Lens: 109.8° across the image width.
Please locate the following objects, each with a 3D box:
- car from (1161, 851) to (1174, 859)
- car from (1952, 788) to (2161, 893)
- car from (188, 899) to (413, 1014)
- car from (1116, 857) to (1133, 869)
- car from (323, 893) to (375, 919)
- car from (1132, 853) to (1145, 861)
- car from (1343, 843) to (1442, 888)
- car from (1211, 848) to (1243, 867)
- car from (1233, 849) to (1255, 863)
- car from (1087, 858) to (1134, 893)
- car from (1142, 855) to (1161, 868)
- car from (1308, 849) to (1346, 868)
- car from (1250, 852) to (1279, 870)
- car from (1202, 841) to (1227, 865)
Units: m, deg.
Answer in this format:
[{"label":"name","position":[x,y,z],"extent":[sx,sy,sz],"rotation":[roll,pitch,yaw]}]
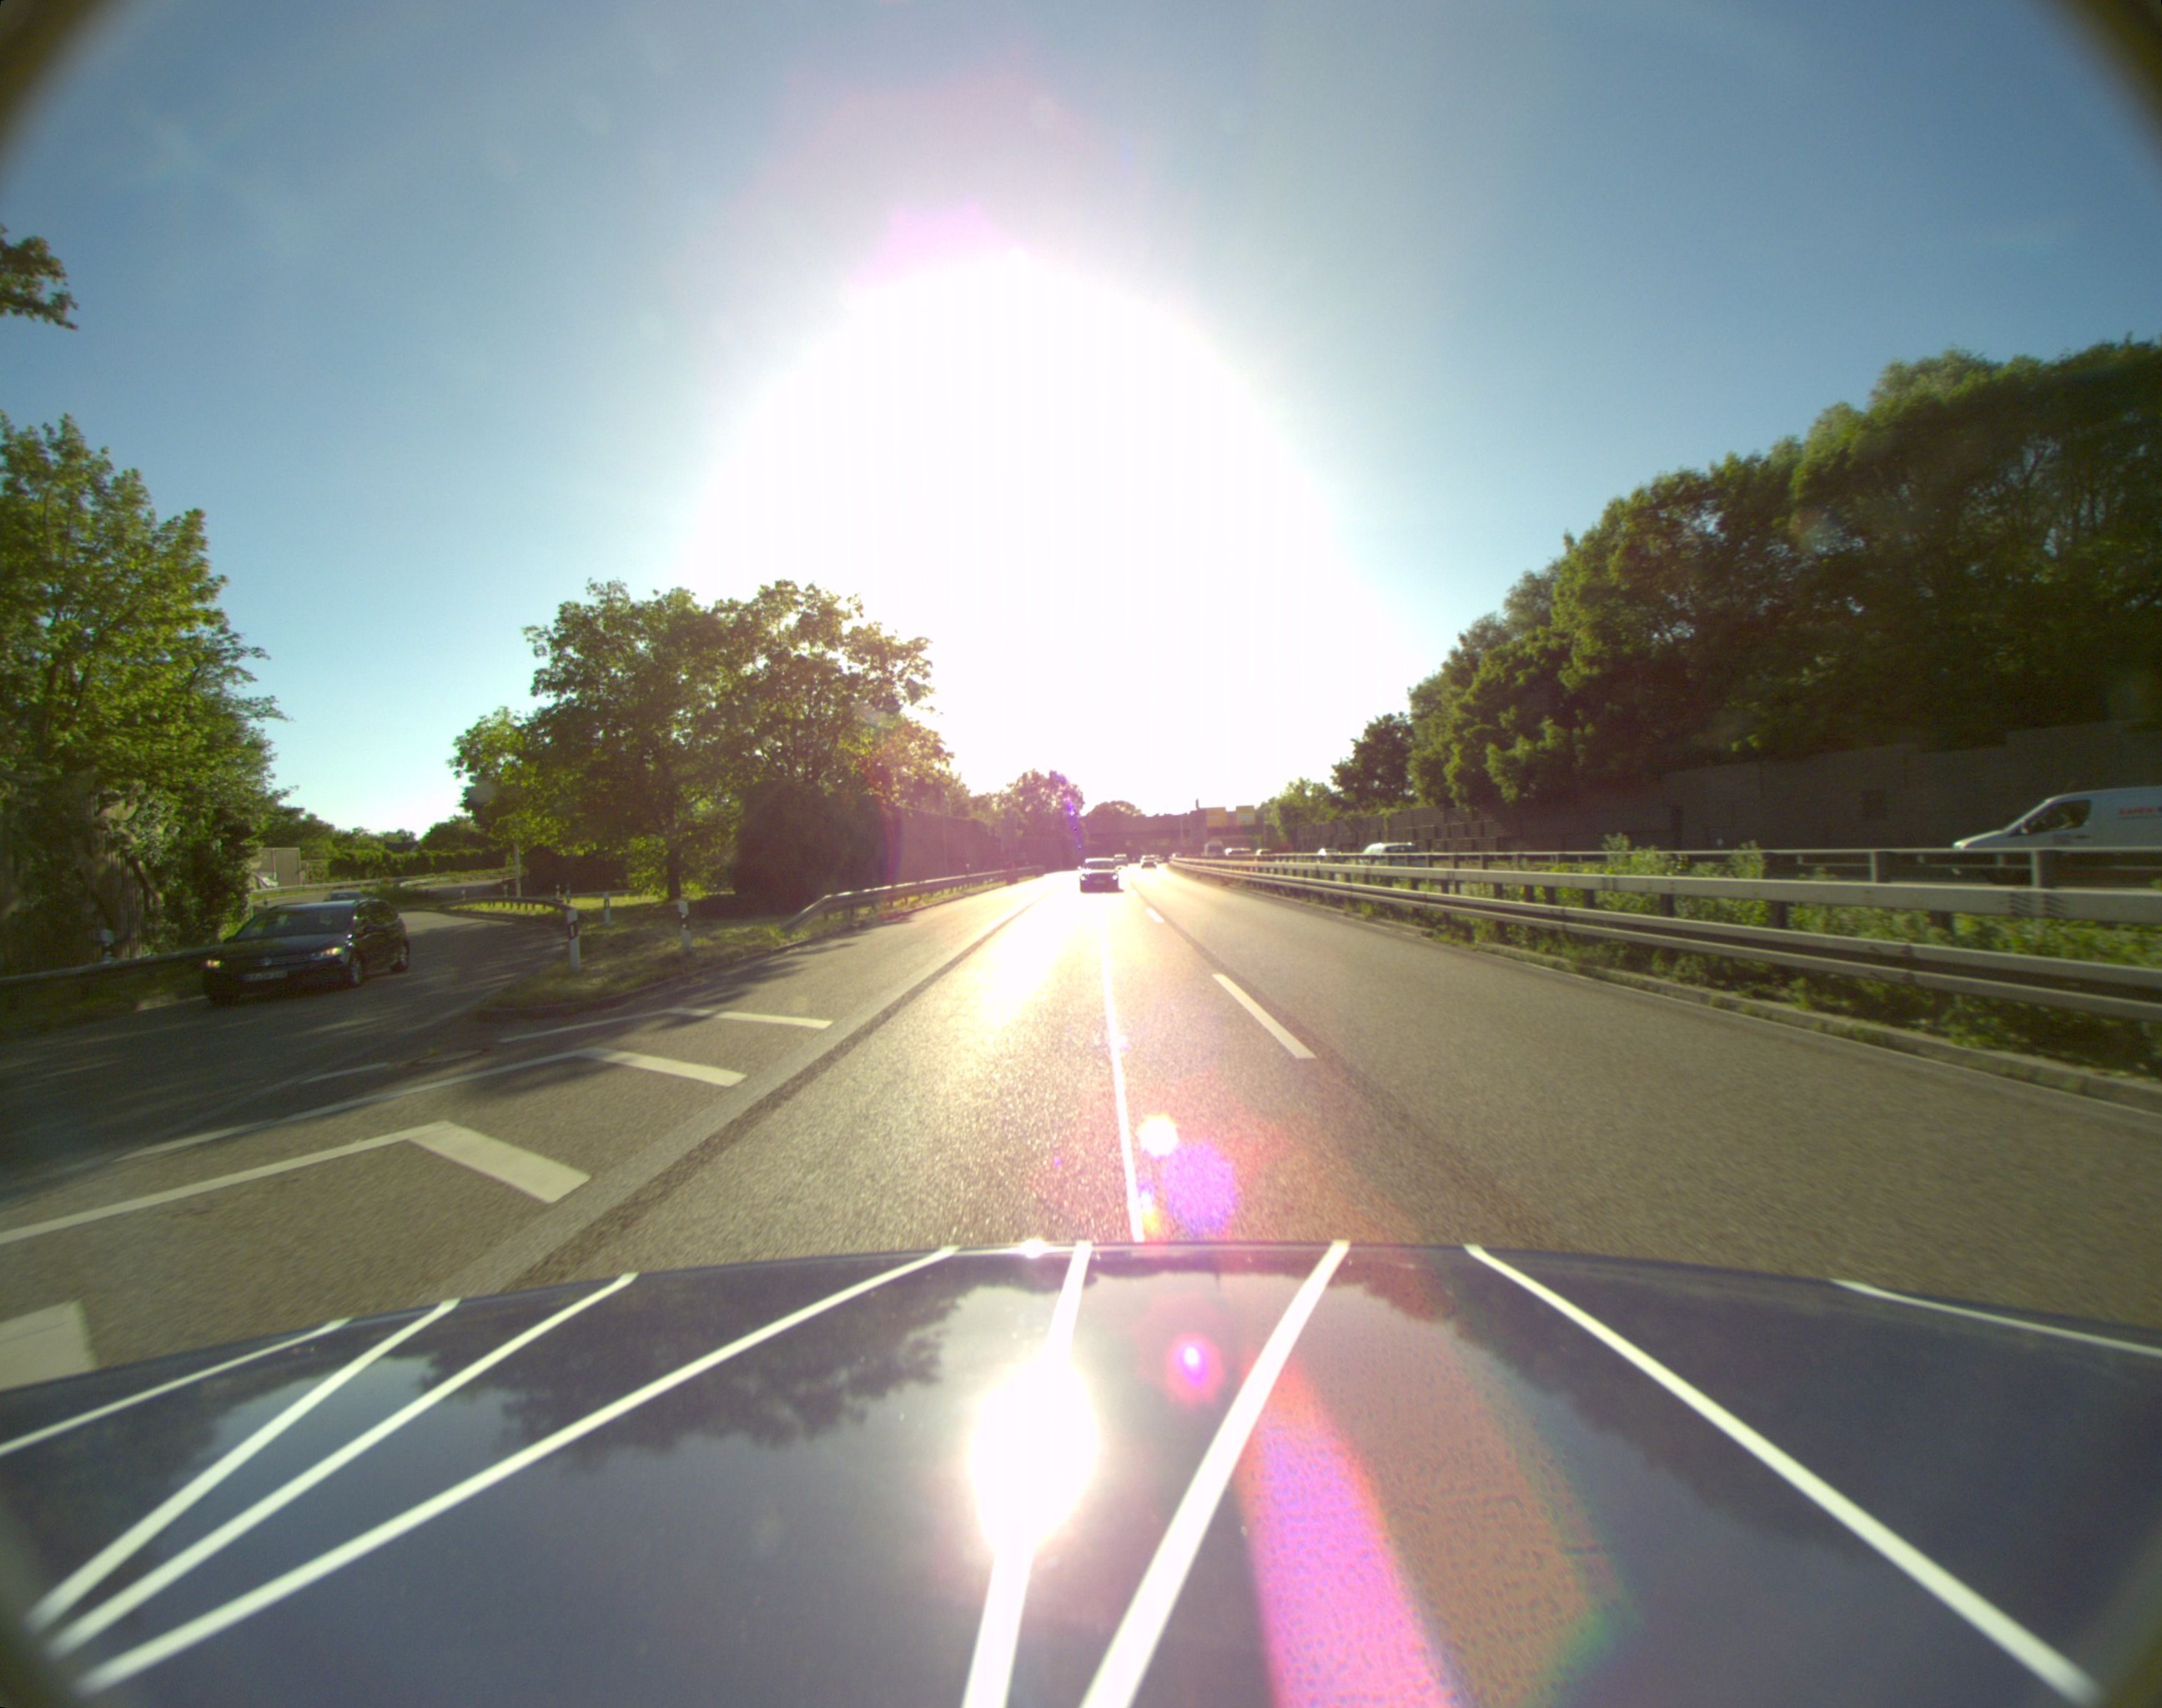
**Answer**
[{"label":"car","position":[17.415,0.197,152.695],"extent":[1.997,1.406,4.835],"rotation":[-3,0,11]},{"label":"car","position":[24.313,-0.332,17.404],"extent":[2.086,2.267,5.363],"rotation":[-4,-1,-31]},{"label":"car","position":[-14.349,1.767,14.286],"extent":[1.749,1.652,3.992],"rotation":[-4,-1,-28]},{"label":"car","position":[5.835,1.175,101.650],"extent":[1.997,1.406,4.833],"rotation":[-3,0,7]},{"label":"car","position":[-41.893,2.990,43.467],"extent":[3.990,1.277,1.646],"rotation":[-5,-1,40]},{"label":"car","position":[10.983,0.611,143.838],"extent":[1.997,1.406,4.834],"rotation":[-3,0,9]},{"label":"car","position":[11.807,0.438,29.131],"extent":[1.826,1.471,4.621],"rotation":[-4,-1,0]},{"label":"car","position":[12.655,0.304,66.167],"extent":[1.998,1.569,4.248],"rotation":[-2,-1,2]},{"label":"car","position":[20.881,0.239,97.353],"extent":[1.998,1.586,4.623],"rotation":[-4,-1,4]},{"label":"car","position":[1.373,0.932,35.232],"extent":[1.998,1.406,4.831],"rotation":[-2,0,2]},{"label":"car","position":[8.049,0.836,86.884],"extent":[1.998,1.406,4.832],"rotation":[-3,0,5]},{"label":"car","position":[20.524,0.382,63.529],"extent":[1.998,1.379,4.030],"rotation":[-4,-1,3]},{"label":"car","position":[18.886,0.720,78.296],"extent":[1.906,1.610,4.697],"rotation":[-4,-1,3]},{"label":"car","position":[15.831,-0.103,90.293],"extent":[2.126,2.667,6.590],"rotation":[-4,-1,4]}]
